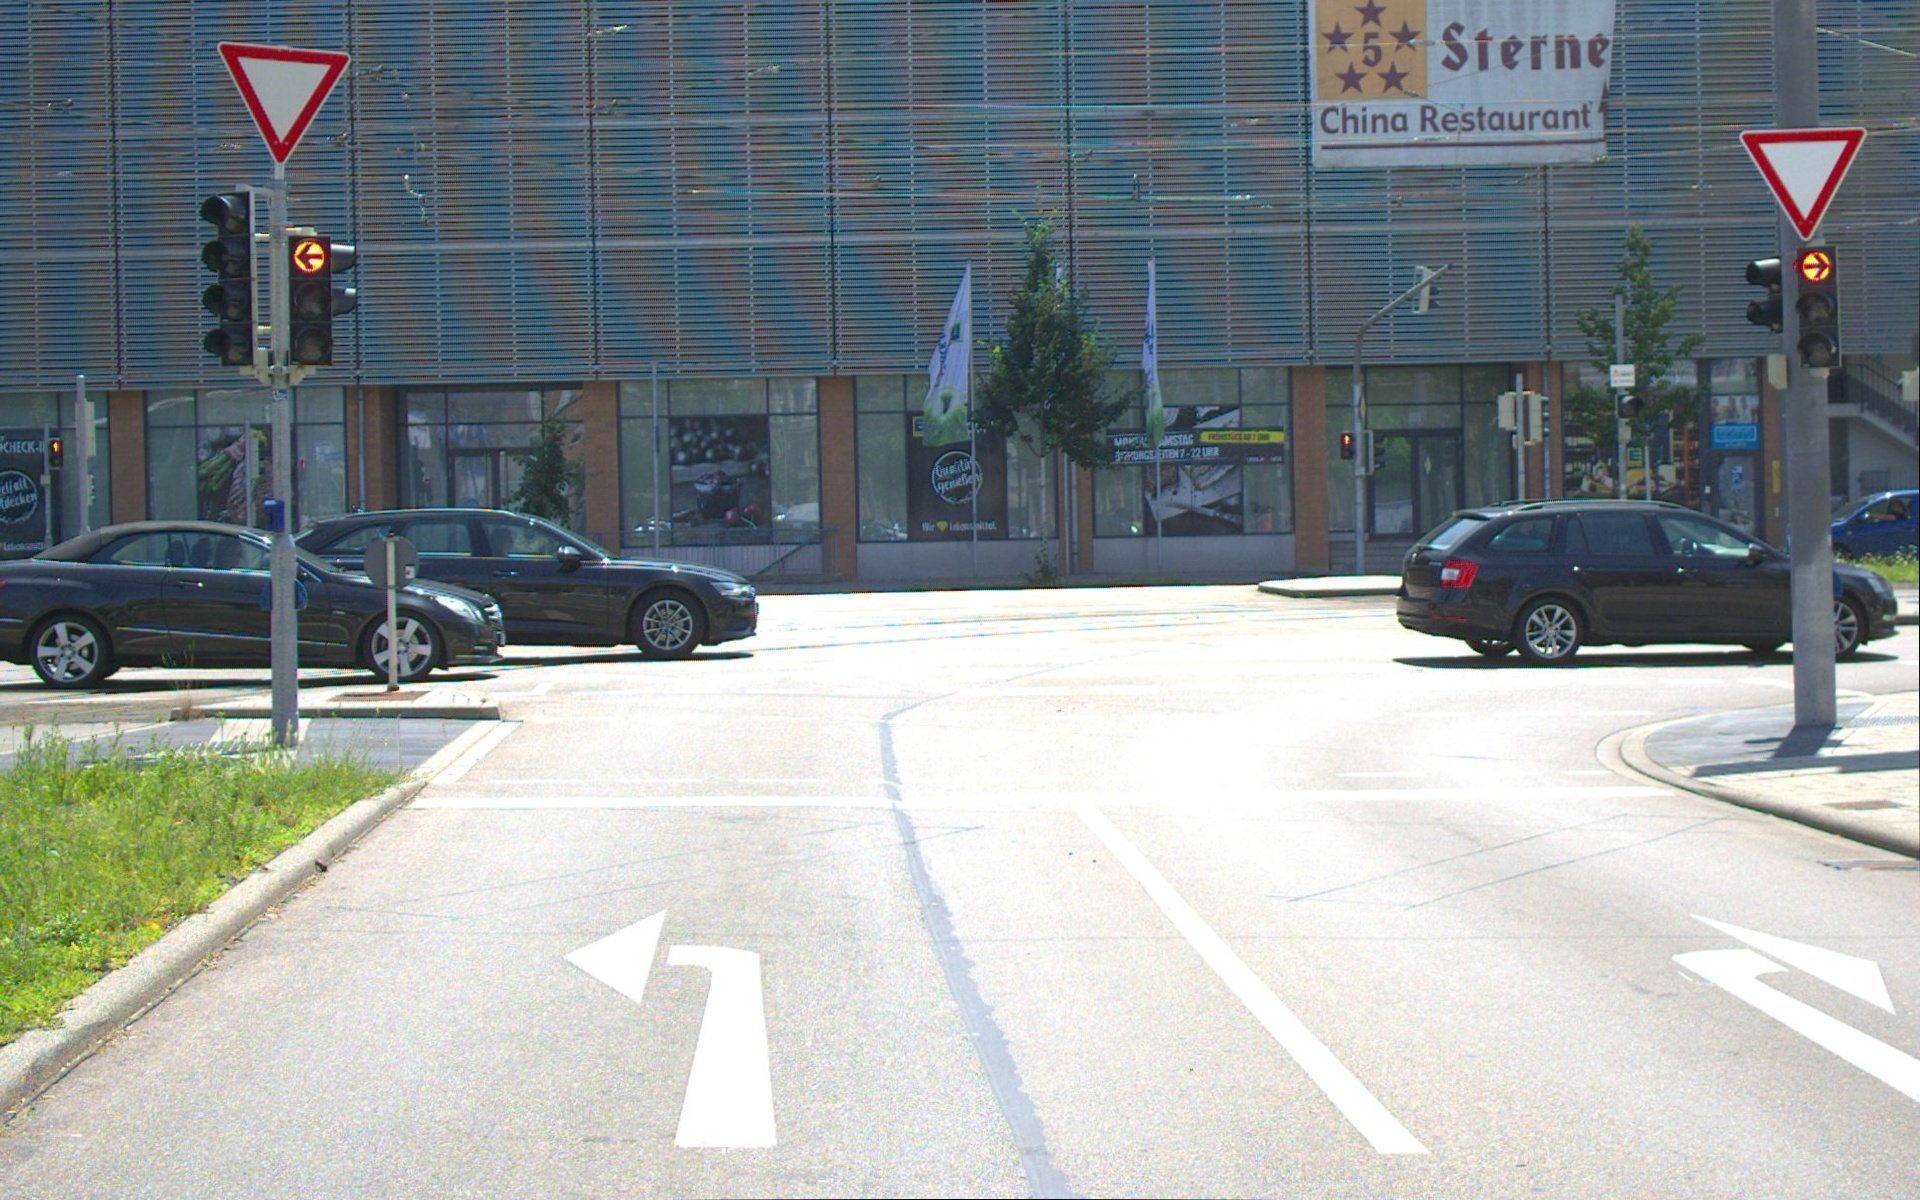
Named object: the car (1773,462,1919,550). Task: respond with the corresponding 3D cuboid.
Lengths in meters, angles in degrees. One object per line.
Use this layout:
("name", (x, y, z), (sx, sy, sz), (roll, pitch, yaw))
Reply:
("car", (16.743, -1.694, 61.270), (3.986, 1.533, 1.882), (0, 2, -3))

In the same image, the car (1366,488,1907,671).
("car", (6.200, -0.221, 31.726), (4.525, 1.503, 1.843), (-2, 2, -8))

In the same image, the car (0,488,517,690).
("car", (-6.192, -0.122, 29.707), (4.548, 1.571, 2.001), (-1, 2, -4))

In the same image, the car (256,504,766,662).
("car", (-4.281, -0.190, 33.322), (4.764, 1.455, 1.888), (0, 2, -4))
